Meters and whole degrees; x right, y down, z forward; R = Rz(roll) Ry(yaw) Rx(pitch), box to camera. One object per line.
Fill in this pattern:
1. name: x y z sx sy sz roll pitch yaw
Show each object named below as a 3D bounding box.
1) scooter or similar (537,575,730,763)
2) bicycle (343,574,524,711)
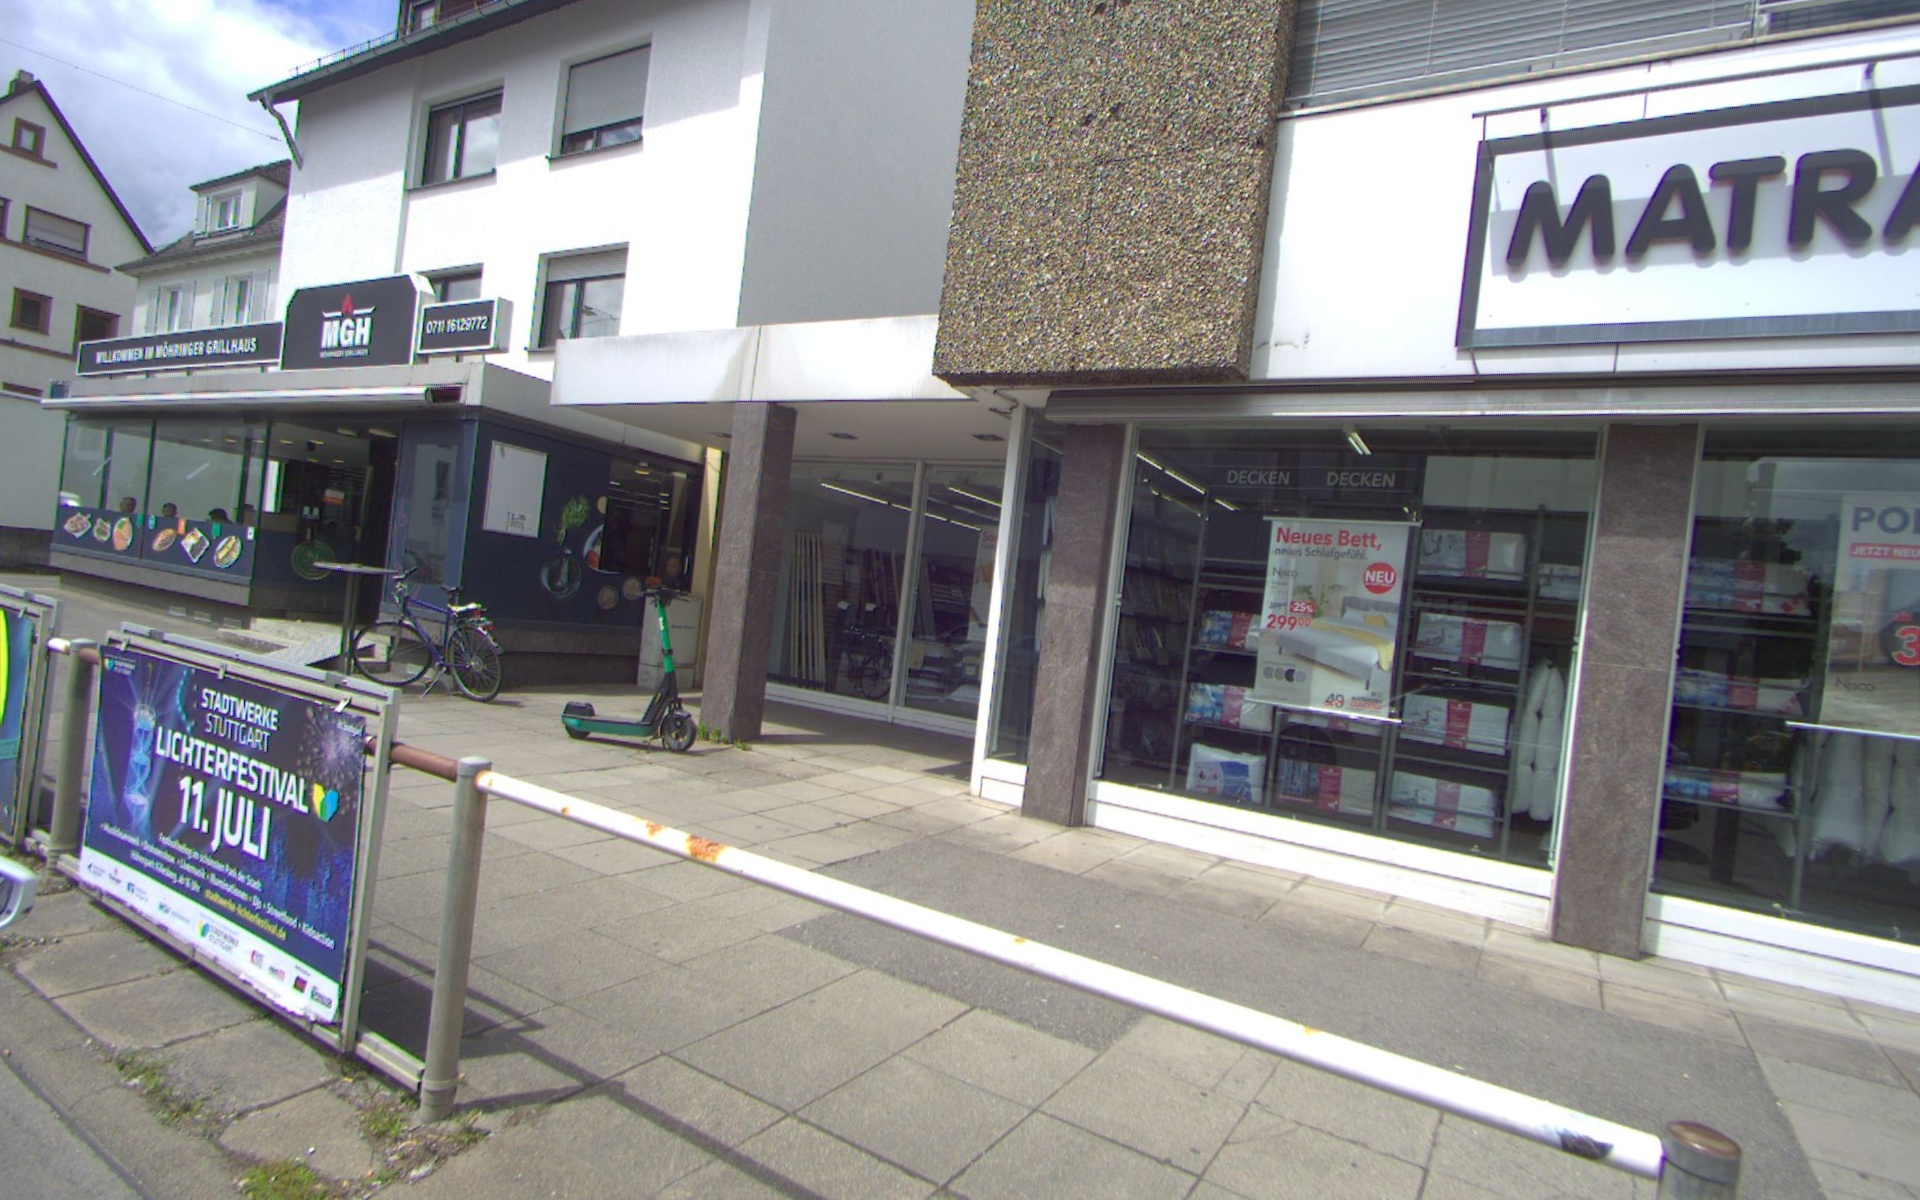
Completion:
1. scooter or similar: -2.571 0.523 7.954 1.163 1.283 0.690 6 1 19
2. bicycle: -4.877 0.380 9.303 1.606 1.041 0.476 7 1 22
